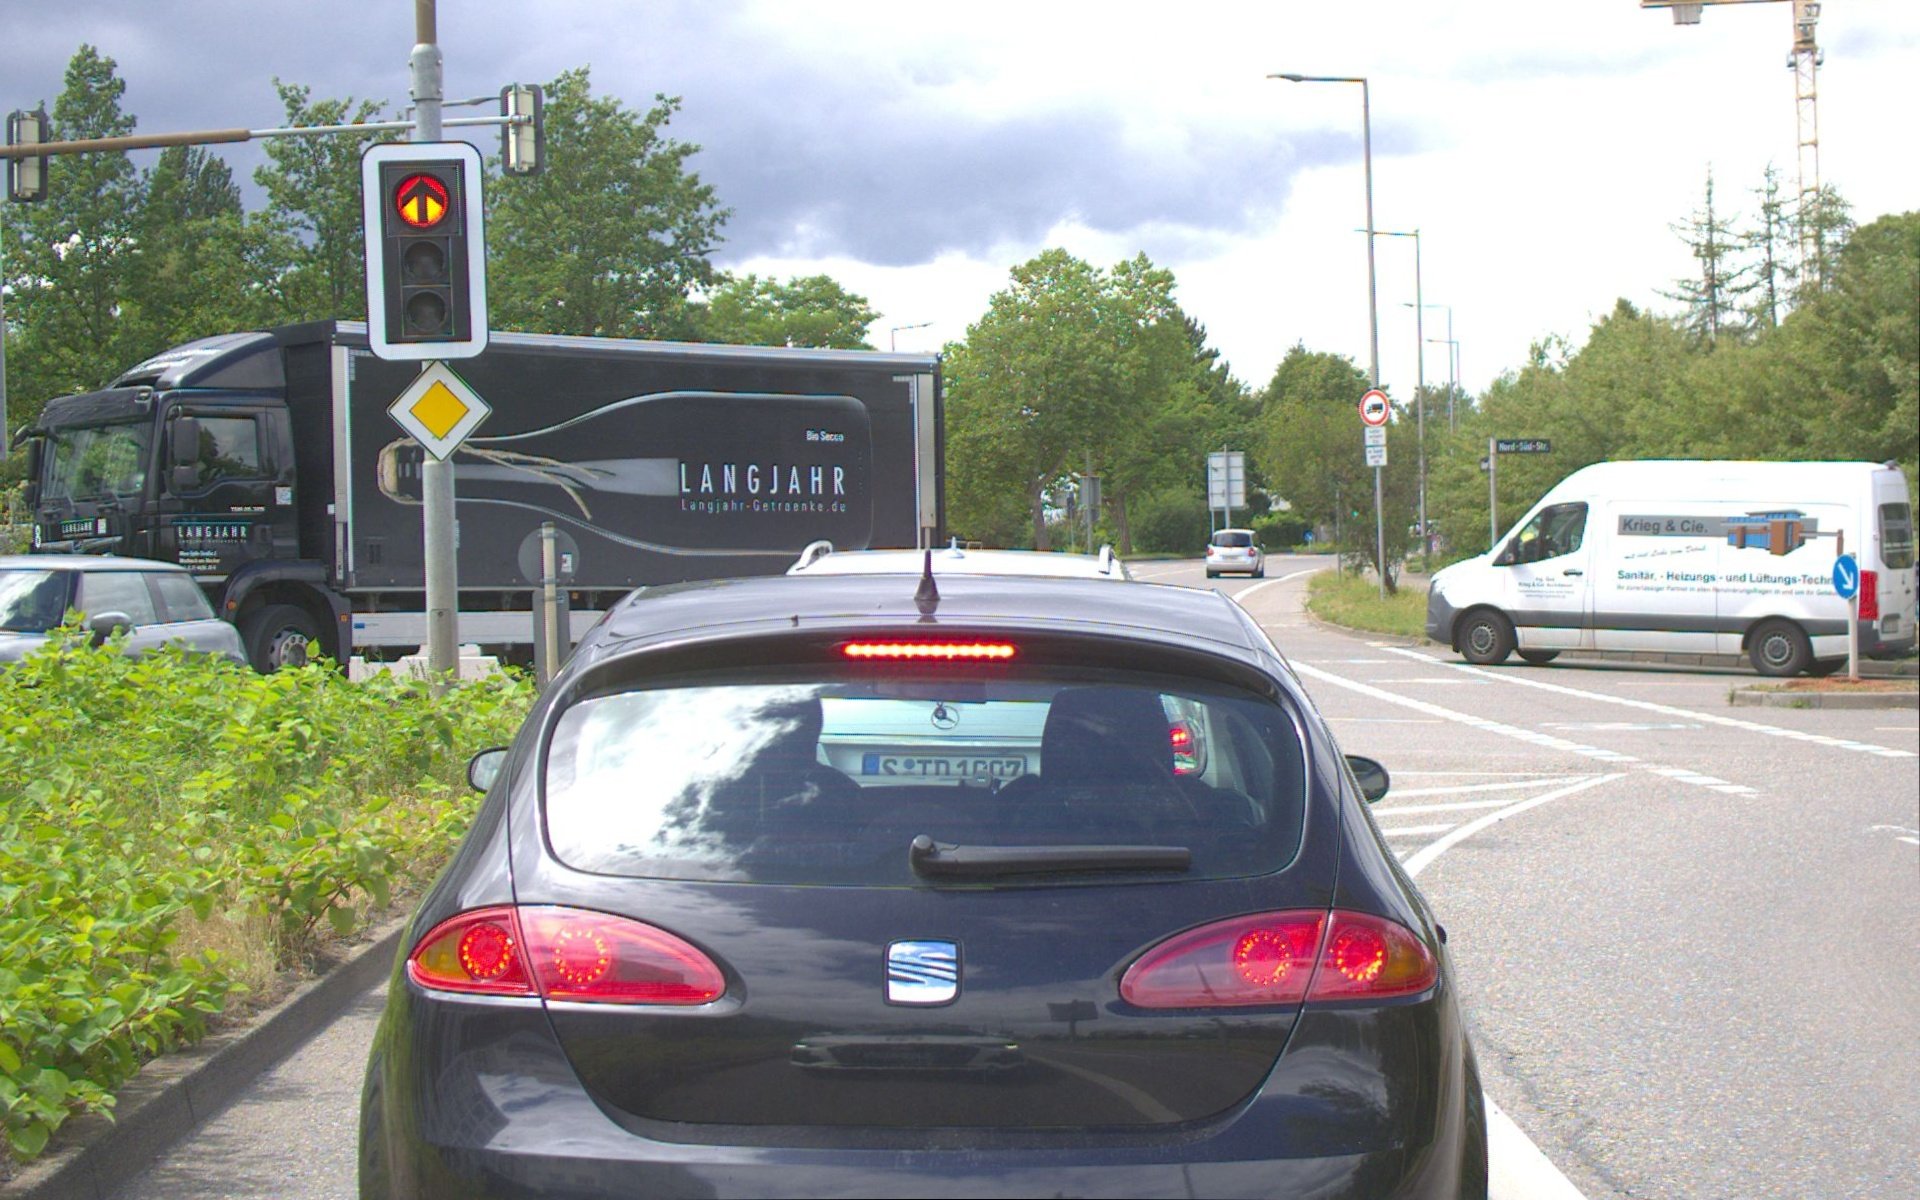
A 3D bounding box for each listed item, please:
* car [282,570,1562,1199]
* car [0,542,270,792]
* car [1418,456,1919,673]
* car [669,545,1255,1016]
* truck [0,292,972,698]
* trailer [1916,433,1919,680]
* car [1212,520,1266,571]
[{"bbox_3d":[-0.068,0.680,6.352,1.711,1.412,3.459,1,1,0],"label":"car"},{"bbox_3d":[-5.931,0.371,21.234,1.690,1.425,3.632,-1,1,18],"label":"car"},{"bbox_3d":[8.731,-0.463,41.991,5.825,2.509,2.130,1,1,28],"label":"car"},{"bbox_3d":[0.026,0.552,12.744,1.834,1.462,3.751,1,1,1],"label":"car"},{"bbox_3d":[-4.544,-0.954,34.021,9.499,3.506,3.177,0,2,-41],"label":"truck"},{"bbox_3d":[13.980,-0.579,39.739,5.572,3.063,2.498,1,0,15],"label":"trailer"},{"bbox_3d":[9.101,-1.765,111.955,1.667,1.590,3.999,1,1,5],"label":"car"}]
